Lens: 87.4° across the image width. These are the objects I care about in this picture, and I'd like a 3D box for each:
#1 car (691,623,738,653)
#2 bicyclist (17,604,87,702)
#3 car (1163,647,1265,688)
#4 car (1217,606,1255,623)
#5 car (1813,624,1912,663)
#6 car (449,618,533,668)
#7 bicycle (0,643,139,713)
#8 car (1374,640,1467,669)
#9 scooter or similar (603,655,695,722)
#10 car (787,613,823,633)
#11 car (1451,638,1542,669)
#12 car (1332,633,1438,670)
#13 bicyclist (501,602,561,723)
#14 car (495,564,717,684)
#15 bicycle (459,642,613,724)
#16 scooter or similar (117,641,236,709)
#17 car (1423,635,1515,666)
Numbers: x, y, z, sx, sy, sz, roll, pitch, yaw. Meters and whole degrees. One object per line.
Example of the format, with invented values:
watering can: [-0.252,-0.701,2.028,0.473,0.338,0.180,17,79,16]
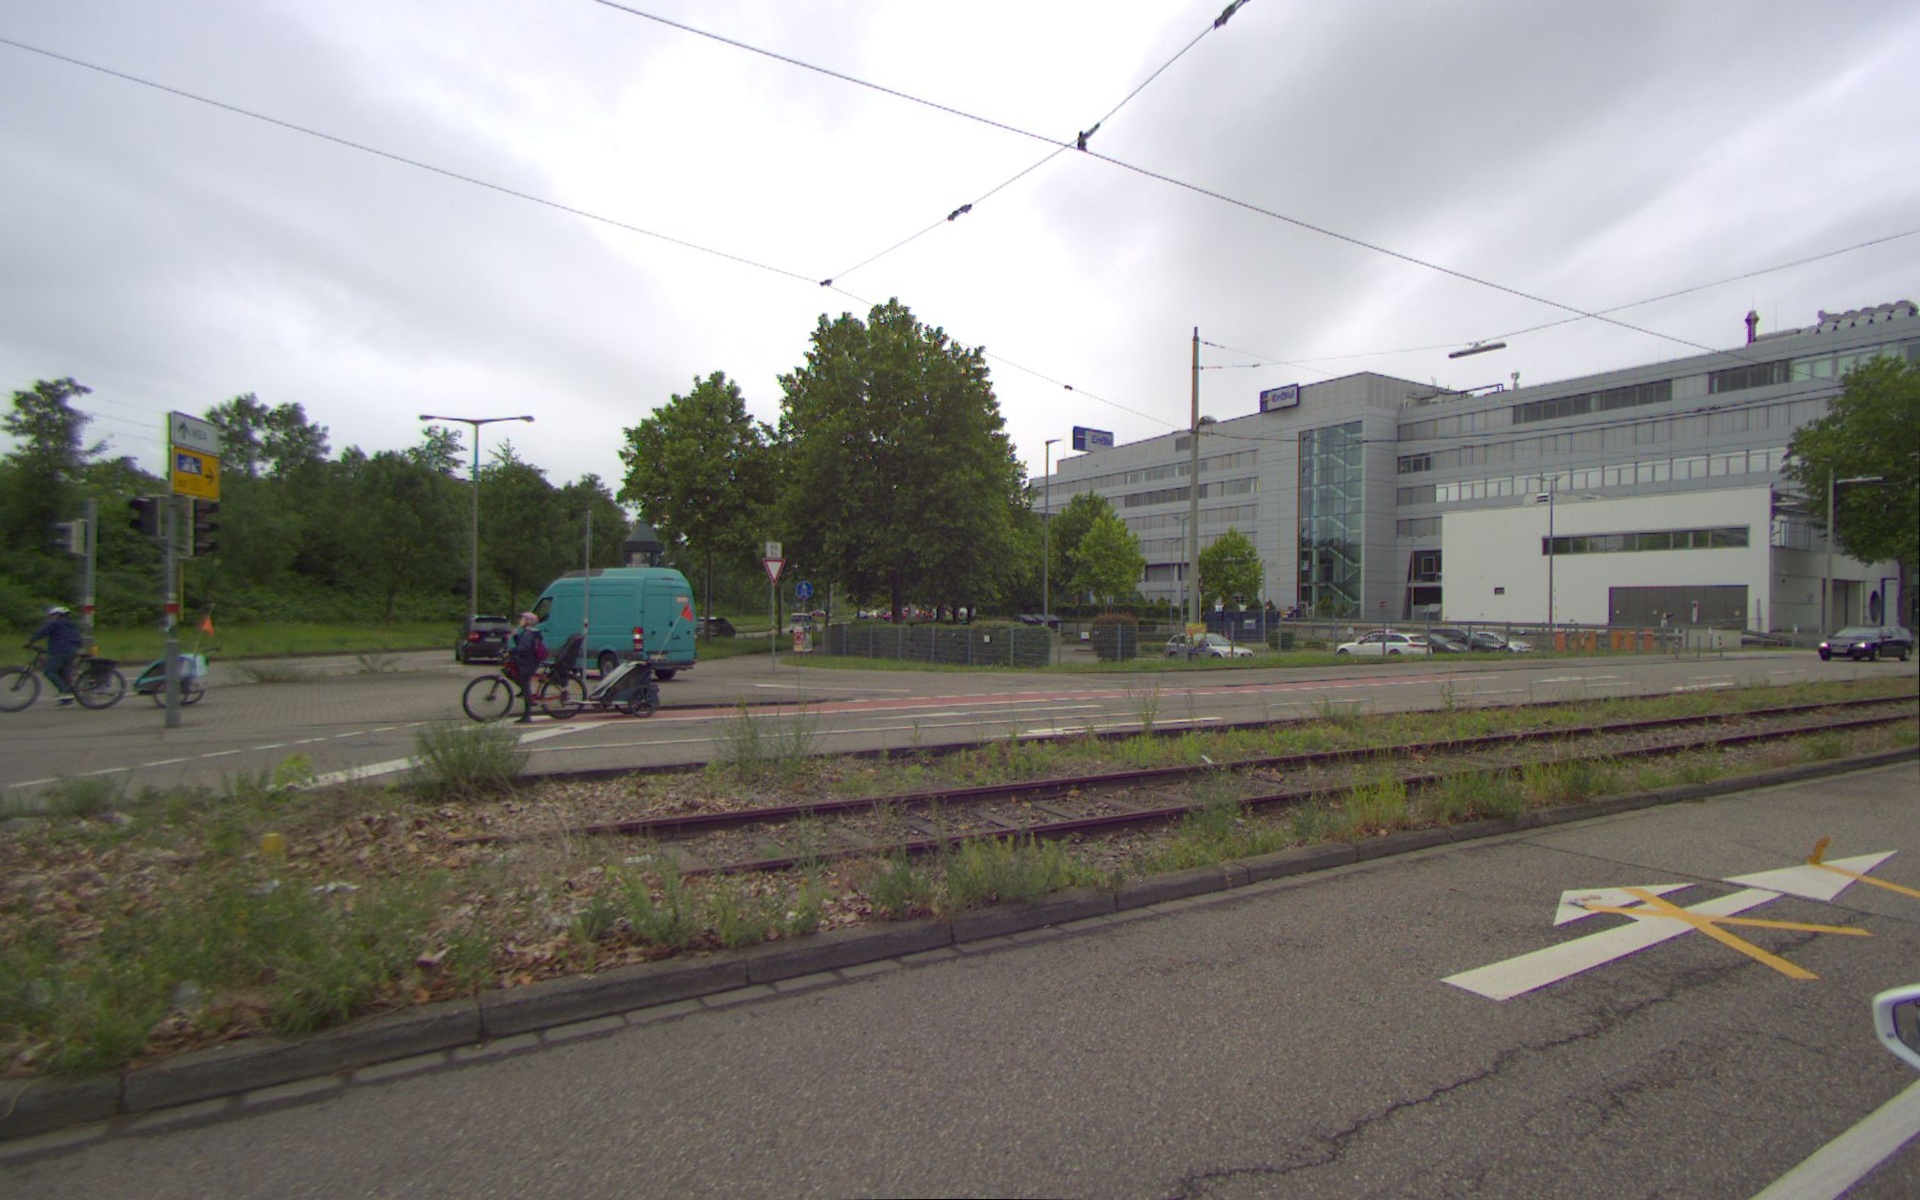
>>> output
car: [-15.067,2.300,61.820,1.743,1.674,3.670,1,1,3]
bicyclist: [-14.754,0.845,16.334,0.616,1.539,0.645,1,1,-16]
car: [10.835,2.859,43.153,1.890,1.552,4.192,1,-1,-29]
car: [33.977,1.803,123.679,4.597,2.040,1.983,1,-1,-31]
car: [36.508,1.730,40.620,4.376,1.492,1.810,1,-1,-31]
car: [-15.459,1.378,33.275,1.743,1.548,3.661,1,-1,-13]
bicycle: [-14.717,1.256,16.359,1.968,1.076,0.645,1,1,-16]
car: [23.445,2.750,51.236,1.893,1.332,3.963,1,-1,-34]
scooter or similar: [-4.929,1.376,15.925,1.187,0.919,0.837,0,2,-38]
car: [-13.734,2.047,89.221,1.928,1.548,5.013,1,1,6]
car: [29.063,2.861,54.518,1.893,1.505,3.963,1,-1,-34]
car: [20.806,2.474,49.338,1.893,1.655,4.499,1,-1,-34]
bicyclist: [-6.349,0.900,14.858,0.679,1.706,0.640,0,2,-38]
car: [-9.397,0.589,26.520,5.845,2.863,2.331,0,-1,31]
bicycle: [-6.277,1.200,14.931,2.006,1.076,0.640,0,2,-38]
scooter or similar: [-13.084,1.243,16.820,1.426,1.076,0.645,1,1,-16]
car: [26.747,2.614,52.868,1.893,1.505,3.963,1,-1,-34]
